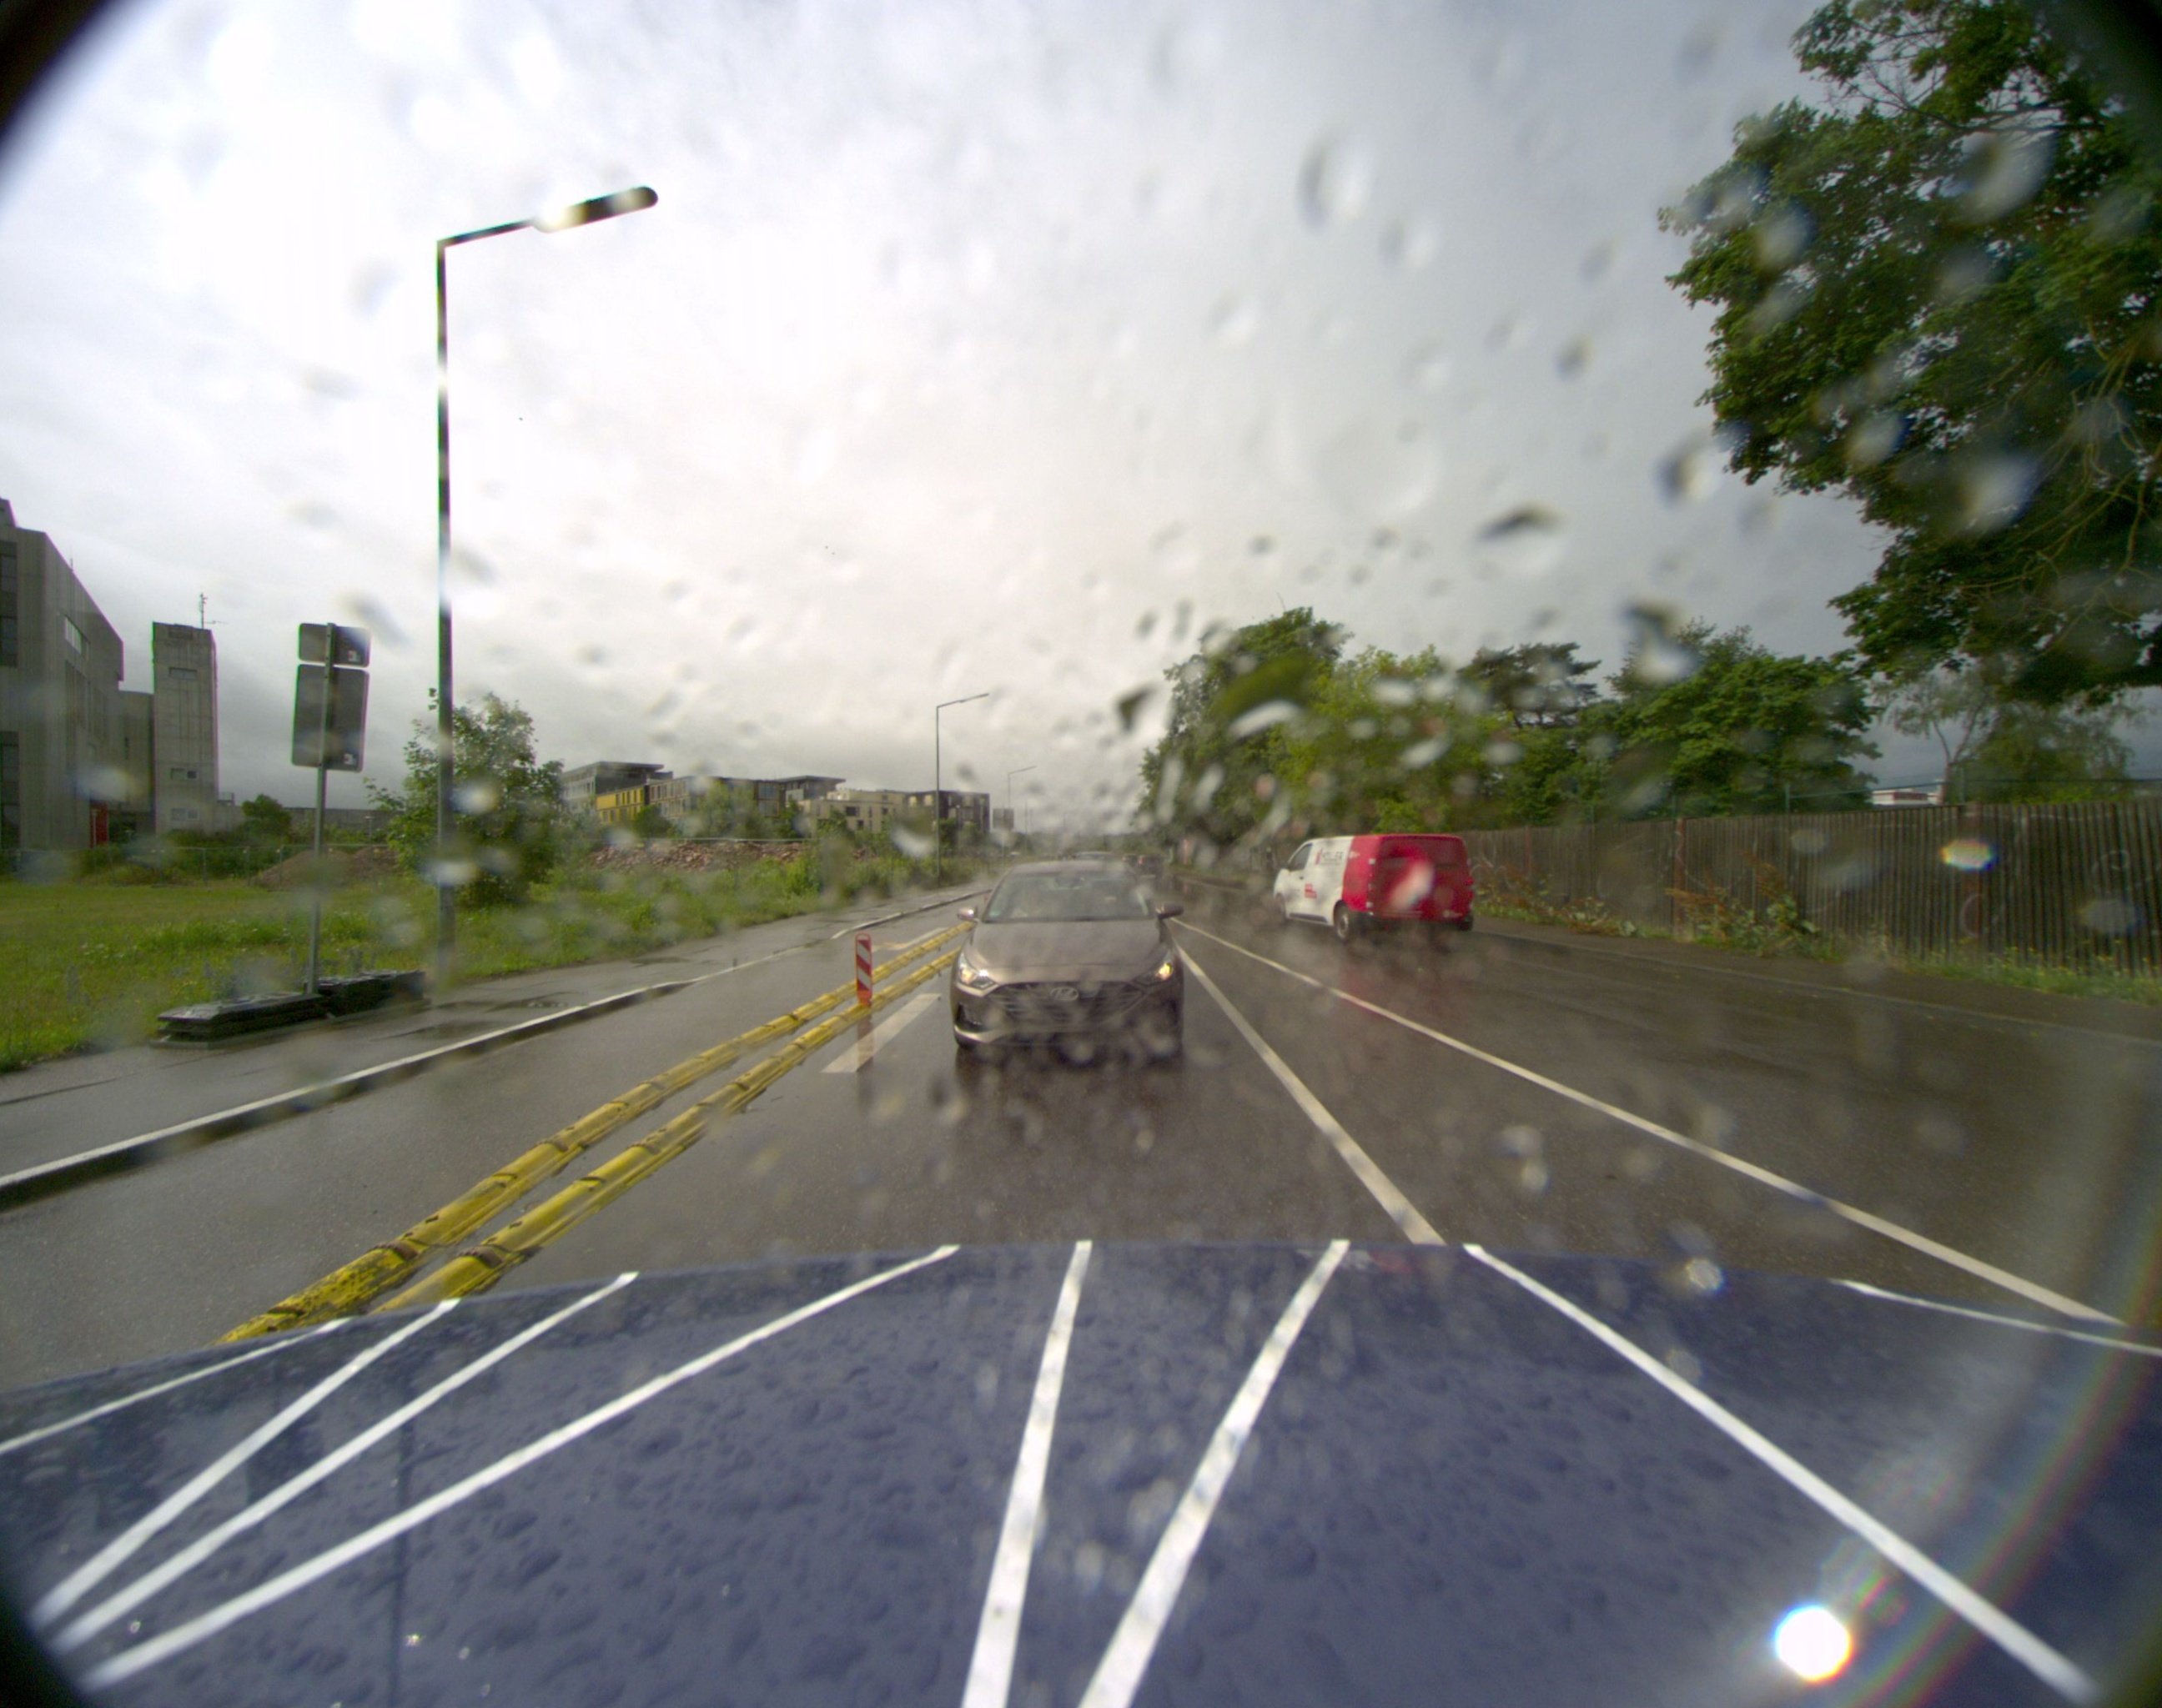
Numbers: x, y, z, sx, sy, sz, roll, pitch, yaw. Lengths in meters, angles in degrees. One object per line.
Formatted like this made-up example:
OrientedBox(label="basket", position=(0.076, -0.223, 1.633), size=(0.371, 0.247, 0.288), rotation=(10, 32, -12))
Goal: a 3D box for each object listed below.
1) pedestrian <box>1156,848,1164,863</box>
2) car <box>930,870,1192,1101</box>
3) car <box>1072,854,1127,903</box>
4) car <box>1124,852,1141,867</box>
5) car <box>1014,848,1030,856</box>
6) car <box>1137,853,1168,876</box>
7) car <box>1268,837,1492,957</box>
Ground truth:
OrientedBox(label="pedestrian", position=(9.343, 0.135, 89.918), size=(0.841, 1.759, 0.644), rotation=(0, 1, 1))
OrientedBox(label="car", position=(-0.154, 0.916, 6.973), size=(1.724, 1.423, 3.817), rotation=(-1, 0, -1))
OrientedBox(label="car", position=(0.620, 0.798, 26.209), size=(1.734, 1.539, 3.770), rotation=(-1, 0, 0))
OrientedBox(label="car", position=(5.600, 0.562, 82.091), size=(1.784, 1.543, 4.428), rotation=(2, 0, 5))
OrientedBox(label="car", position=(-16.417, -0.583, 211.773), size=(4.008, 2.002, 1.994), rotation=(-1, 1, -42))
OrientedBox(label="car", position=(4.834, 0.679, 51.892), size=(1.879, 1.474, 4.177), rotation=(0, 1, 2))
OrientedBox(label="car", position=(5.295, 0.657, 14.391), size=(1.893, 1.865, 5.130), rotation=(0, 0, -4))
